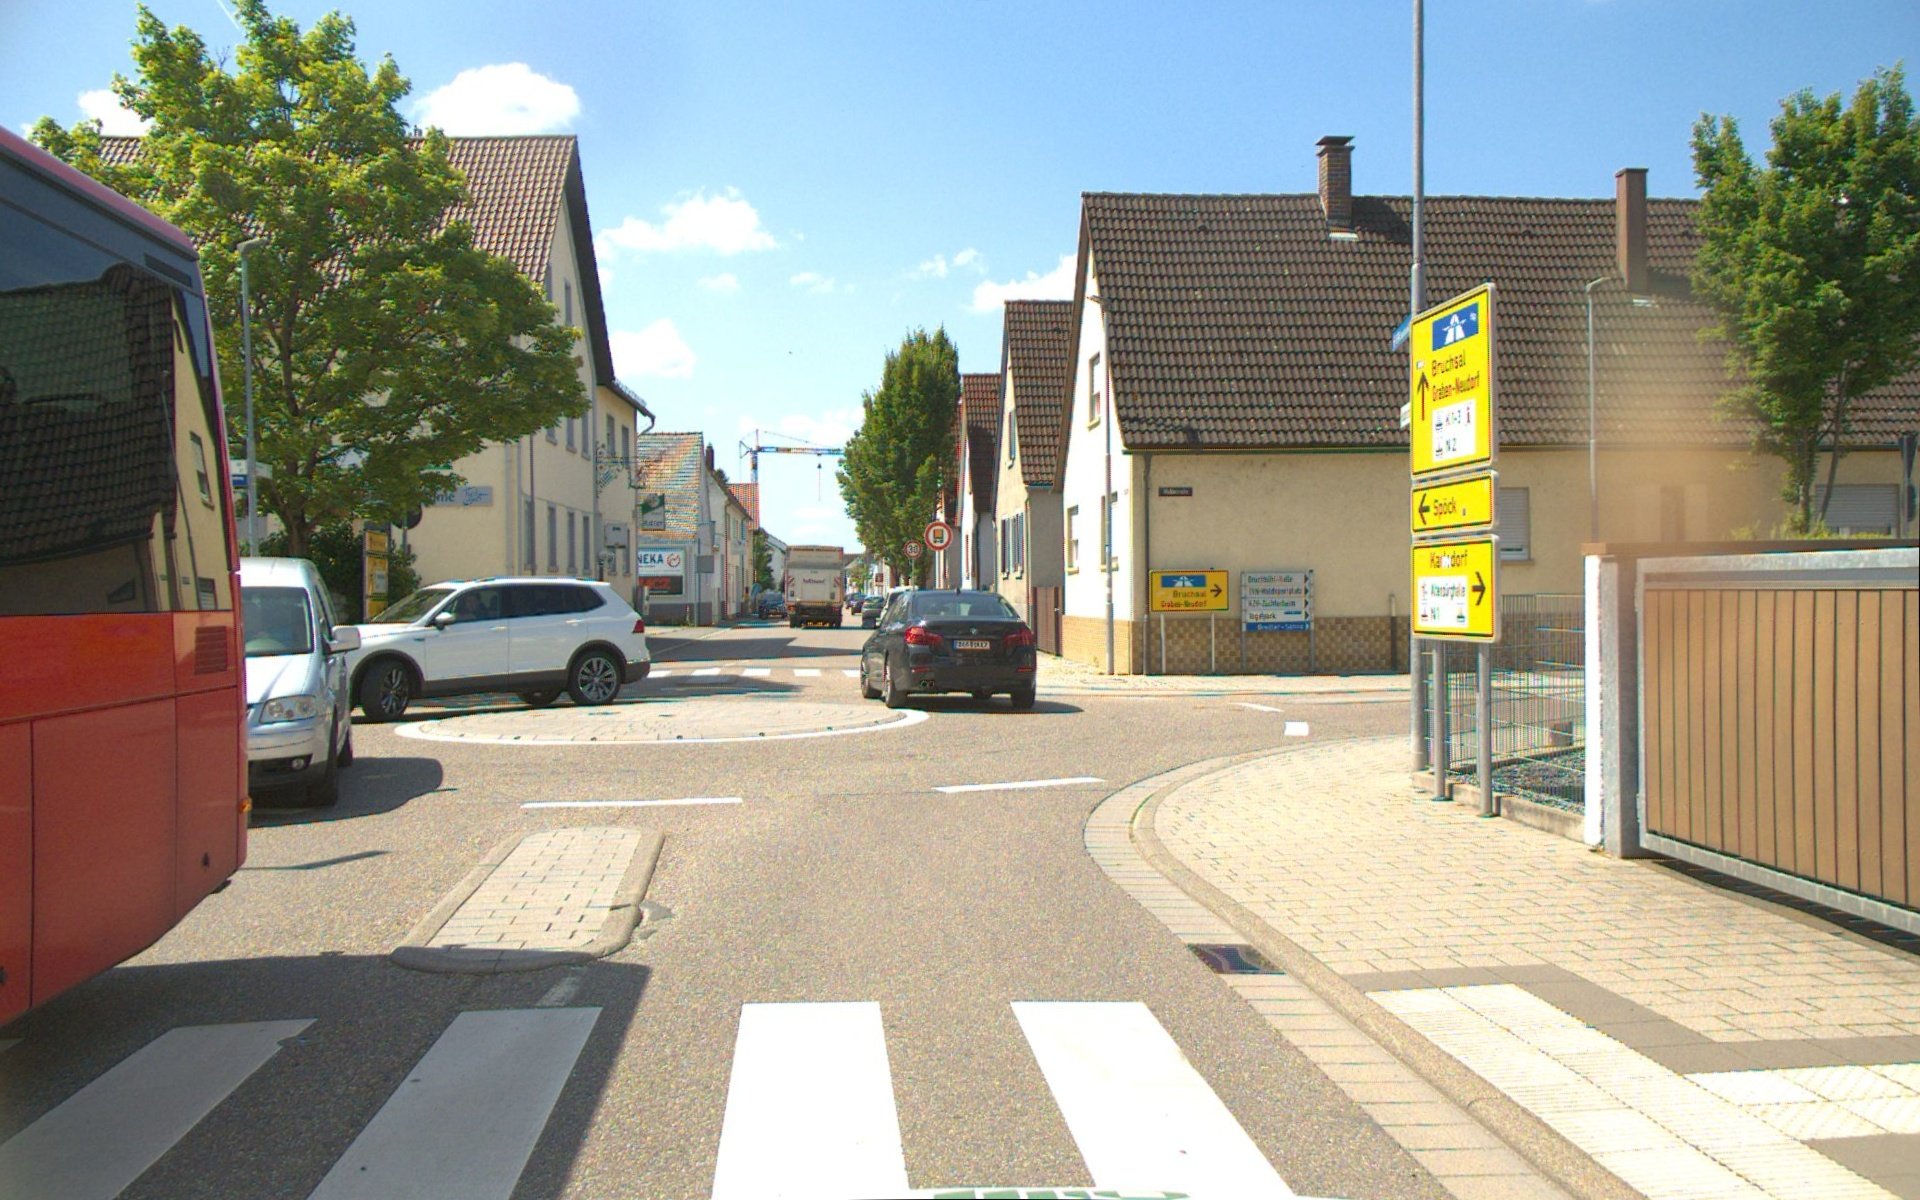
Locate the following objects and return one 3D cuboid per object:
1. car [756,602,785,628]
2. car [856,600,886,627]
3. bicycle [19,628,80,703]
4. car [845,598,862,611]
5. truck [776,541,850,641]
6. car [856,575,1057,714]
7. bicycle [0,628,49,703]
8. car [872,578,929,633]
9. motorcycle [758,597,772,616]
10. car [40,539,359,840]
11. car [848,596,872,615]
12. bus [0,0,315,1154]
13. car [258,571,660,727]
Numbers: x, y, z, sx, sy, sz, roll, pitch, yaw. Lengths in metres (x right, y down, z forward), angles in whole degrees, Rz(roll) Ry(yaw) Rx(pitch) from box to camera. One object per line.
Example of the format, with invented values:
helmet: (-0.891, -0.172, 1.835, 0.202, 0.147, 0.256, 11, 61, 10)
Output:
car: (-12.564, 0.974, 109.808, 1.774, 1.617, 3.996, 0, 0, -5)
car: (-5.167, 0.754, 96.156, 1.685, 1.487, 4.154, 0, 0, -3)
bicycle: (-14.130, 0.997, 25.699, 0.393, 1.021, 1.974, -1, 2, -16)
car: (-11.171, 0.454, 173.276, 1.686, 1.291, 4.153, 0, 0, -4)
truck: (-6.730, -0.353, 76.772, 3.082, 4.325, 9.295, 1, 0, -3)
car: (-0.164, 0.573, 21.414, 1.867, 1.591, 4.465, 0, -2, -10)
bicycle: (-14.560, 0.990, 25.576, 0.393, 1.021, 1.974, -1, 2, -16)
car: (-2.173, 0.188, 59.583, 1.687, 1.821, 4.138, -2, 0, -6)
motorcycle: (-12.466, 0.433, 105.985, 0.830, 1.190, 2.466, 1, 0, -6)
car: (-5.669, 0.563, 12.833, 1.745, 1.852, 4.417, -2, 1, -19)
car: (-7.532, 0.403, 124.497, 1.686, 1.379, 4.153, 0, 0, -4)
bus: (-3.620, -0.084, 1.060, 2.576, 3.288, 12.010, -3, 1, -5)
car: (-6.220, 0.532, 20.854, 4.503, 1.740, 1.844, -1, 0, -42)
